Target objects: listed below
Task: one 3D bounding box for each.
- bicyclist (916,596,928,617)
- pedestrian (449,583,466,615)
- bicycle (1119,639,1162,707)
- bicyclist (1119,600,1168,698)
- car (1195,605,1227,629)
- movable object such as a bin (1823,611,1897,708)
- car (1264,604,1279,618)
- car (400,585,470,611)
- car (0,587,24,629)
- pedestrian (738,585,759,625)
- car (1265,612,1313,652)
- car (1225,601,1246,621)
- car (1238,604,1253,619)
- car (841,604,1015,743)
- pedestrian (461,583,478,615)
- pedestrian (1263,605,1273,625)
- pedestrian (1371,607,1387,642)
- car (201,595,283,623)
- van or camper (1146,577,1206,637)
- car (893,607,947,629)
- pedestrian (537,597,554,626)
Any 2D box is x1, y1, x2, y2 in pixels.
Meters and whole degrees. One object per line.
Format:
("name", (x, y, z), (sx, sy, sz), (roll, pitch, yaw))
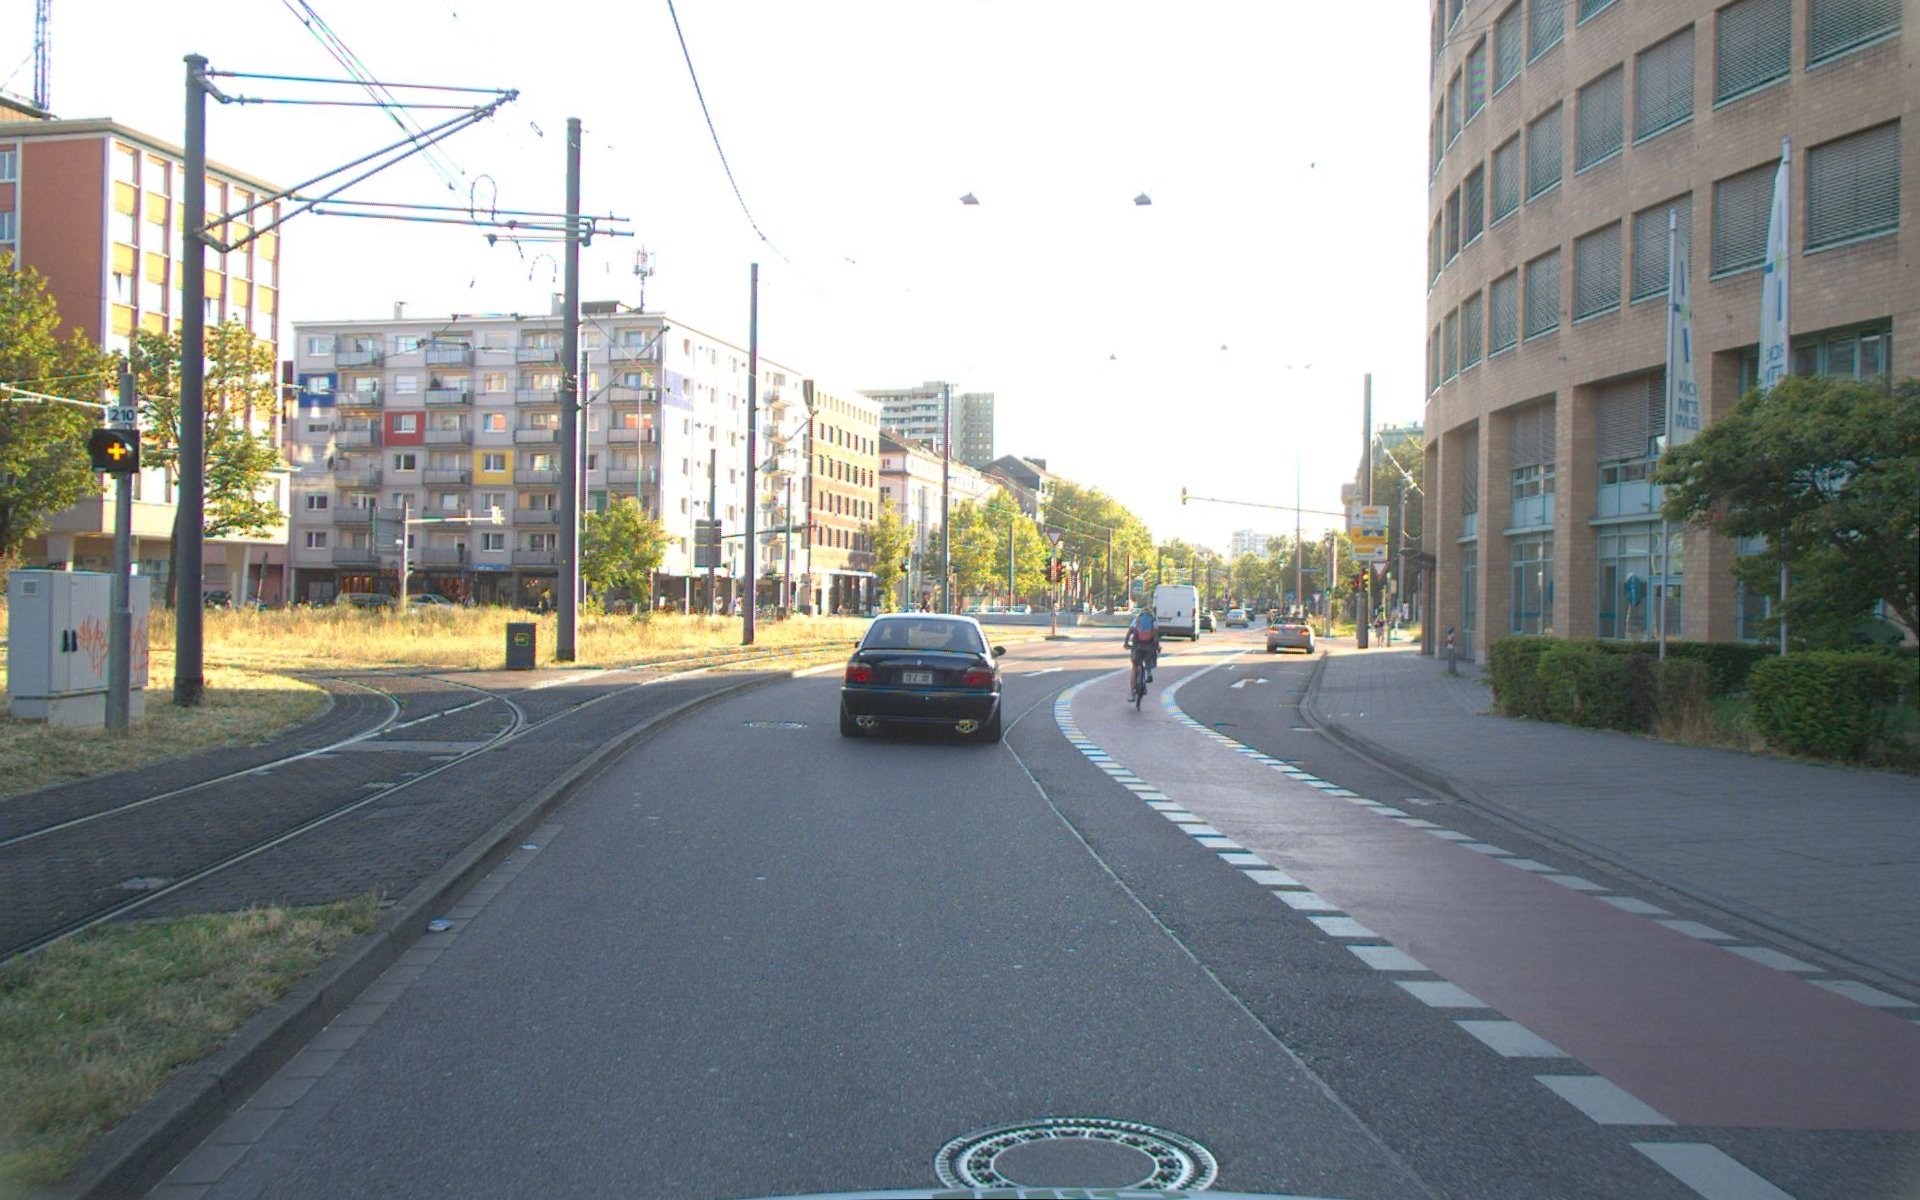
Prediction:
("bicyclist", (-2.823, 0.493, 122.539), (0.836, 1.467, 0.663), (2, 1, -1))
("pedestrian", (-29.574, -0.073, 97.382), (0.690, 1.884, 0.737), (0, 1, 14))
("bicycle", (2.913, 1.153, 26.589), (0.504, 0.971, 1.777), (2, 1, 11))
("bicyclist", (2.945, 0.780, 26.514), (0.641, 1.509, 1.039), (3, 0, 11))
("car", (16.300, 1.104, 107.257), (1.700, 1.410, 4.004), (0, 1, 14))
("movable object such as a bin", (14.366, 0.923, 26.379), (0.953, 1.463, 1.342), (1, 1, 32))
("car", (37.572, 1.305, 199.575), (1.756, 1.593, 4.004), (0, 1, 9))
("car", (-33.096, -0.137, 104.368), (3.782, 1.612, 1.805), (0, 1, 8))
("car", (-37.718, 0.306, 61.972), (1.724, 1.553, 4.276), (1, 1, 35))
("pedestrian", (-9.701, 0.221, 75.946), (0.707, 1.793, 0.648), (1, 1, 35))
("car", (13.001, 1.241, 65.210), (1.745, 1.377, 4.270), (2, 1, 12))
("car", (23.210, 0.927, 139.407), (1.756, 1.593, 4.004), (0, 1, 9))
("car", (33.639, 1.368, 194.881), (1.756, 1.593, 4.004), (0, 1, 9))
("car", (-0.321, 0.788, 19.808), (1.792, 1.378, 4.641), (2, 0, 0))
("pedestrian", (-28.815, -0.065, 97.160), (0.589, 1.880, 0.823), (0, 1, 14))
("pedestrian", (23.365, 1.128, 125.518), (0.603, 1.501, 0.800), (0, 1, 17))
("pedestrian", (19.284, 1.118, 76.061), (0.662, 1.597, 0.801), (0, 1, 11))
("car", (-44.199, 0.554, 101.871), (4.188, 1.612, 1.991), (0, 1, 8))
("van or camper", (10.058, 0.282, 76.757), (2.215, 2.670, 4.506), (0, 1, 14))
("car", (-2.995, 1.371, 124.268), (3.906, 1.459, 1.718), (2, 1, -1))
("pedestrian", (-24.525, 0.666, 97.835), (0.723, 1.699, 0.783), (0, 1, 14))
